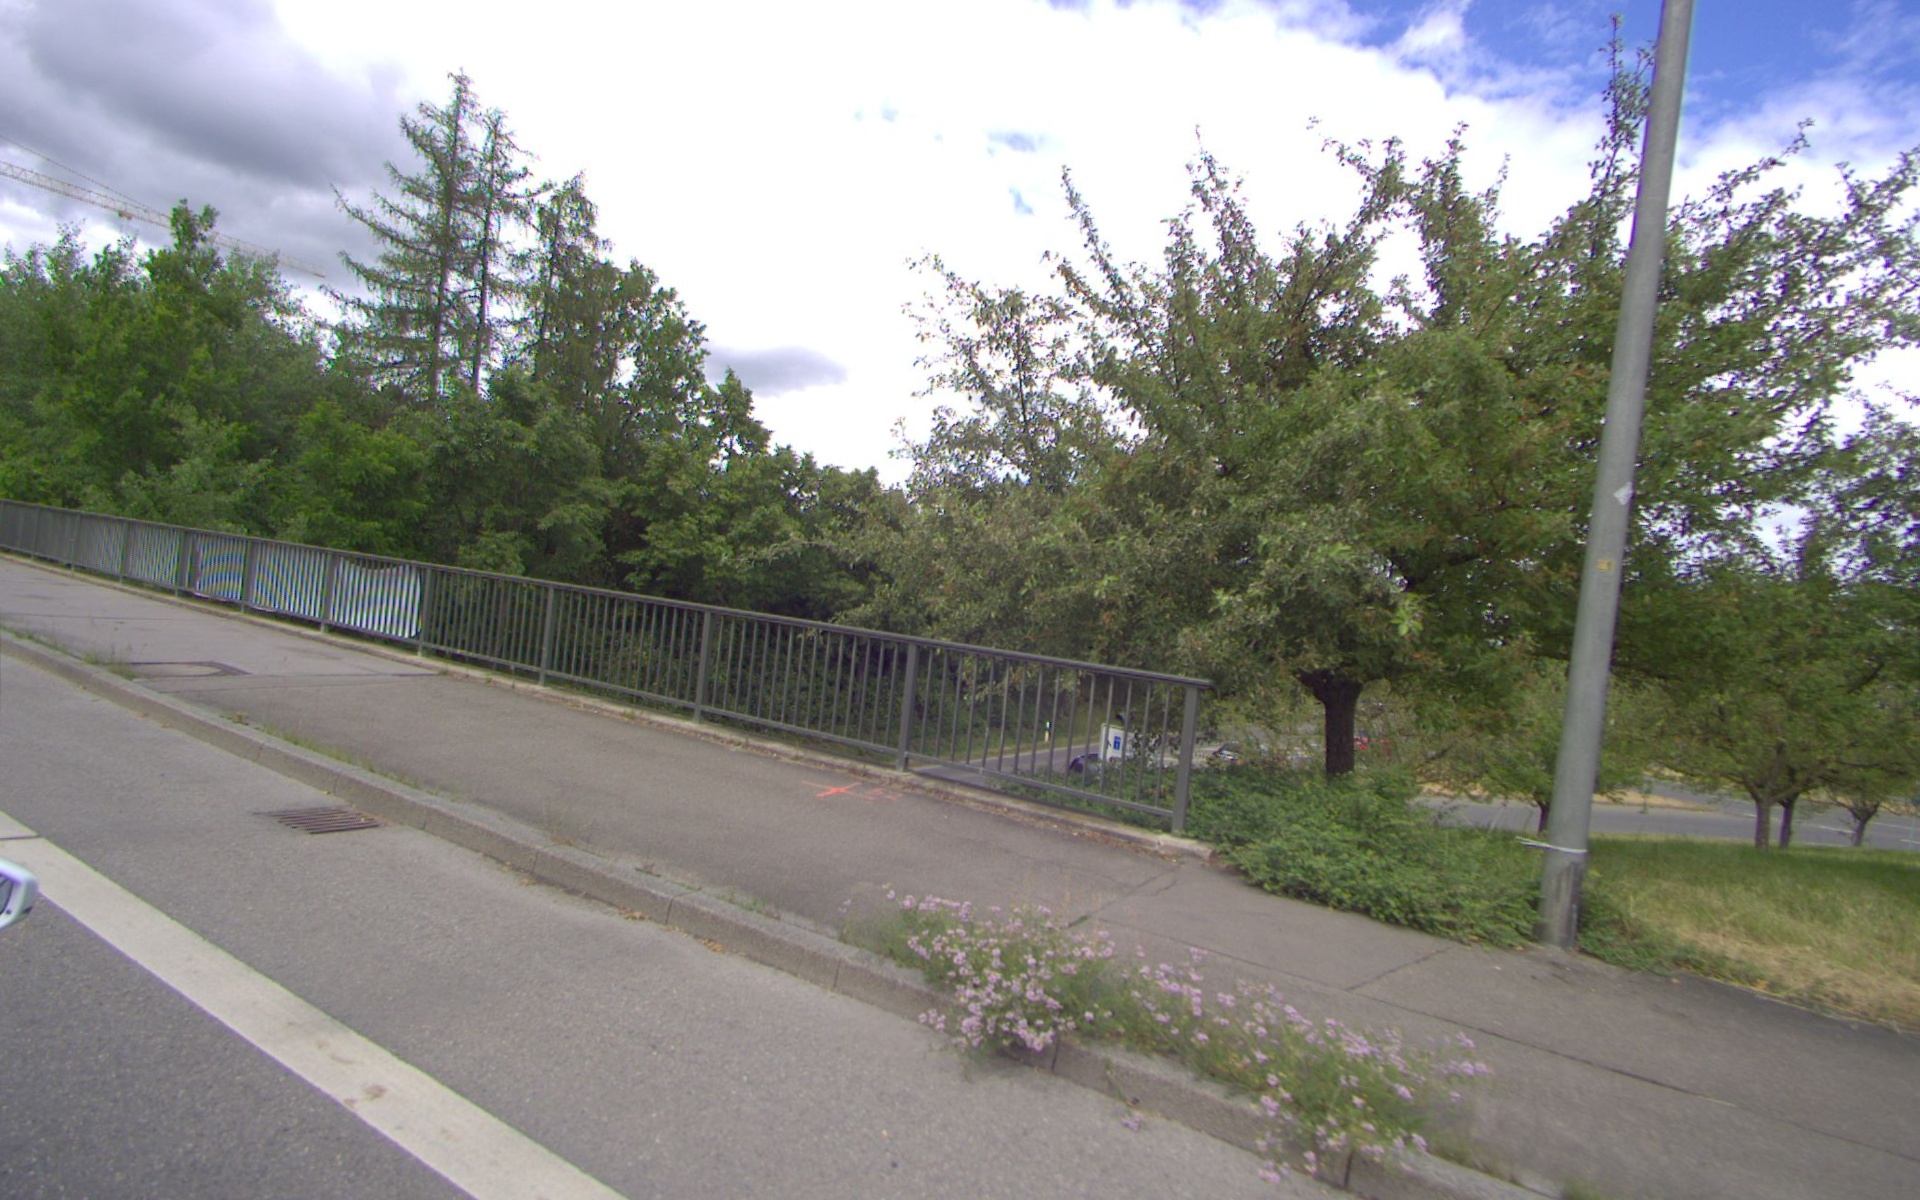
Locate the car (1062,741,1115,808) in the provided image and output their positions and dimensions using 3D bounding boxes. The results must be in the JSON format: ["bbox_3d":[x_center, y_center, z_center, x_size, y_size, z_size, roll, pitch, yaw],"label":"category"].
[{"bbox_3d":[4.784,6.467,37.681,1.650,1.560,3.855,9,2,6],"label":"car"}]

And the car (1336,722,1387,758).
[{"bbox_3d":[23.571,8.193,58.983,1.656,1.560,3.841,9,2,37],"label":"car"}]

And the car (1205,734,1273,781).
[{"bbox_3d":[12.884,7.225,46.390,1.655,1.560,3.842,8,2,35],"label":"car"}]
